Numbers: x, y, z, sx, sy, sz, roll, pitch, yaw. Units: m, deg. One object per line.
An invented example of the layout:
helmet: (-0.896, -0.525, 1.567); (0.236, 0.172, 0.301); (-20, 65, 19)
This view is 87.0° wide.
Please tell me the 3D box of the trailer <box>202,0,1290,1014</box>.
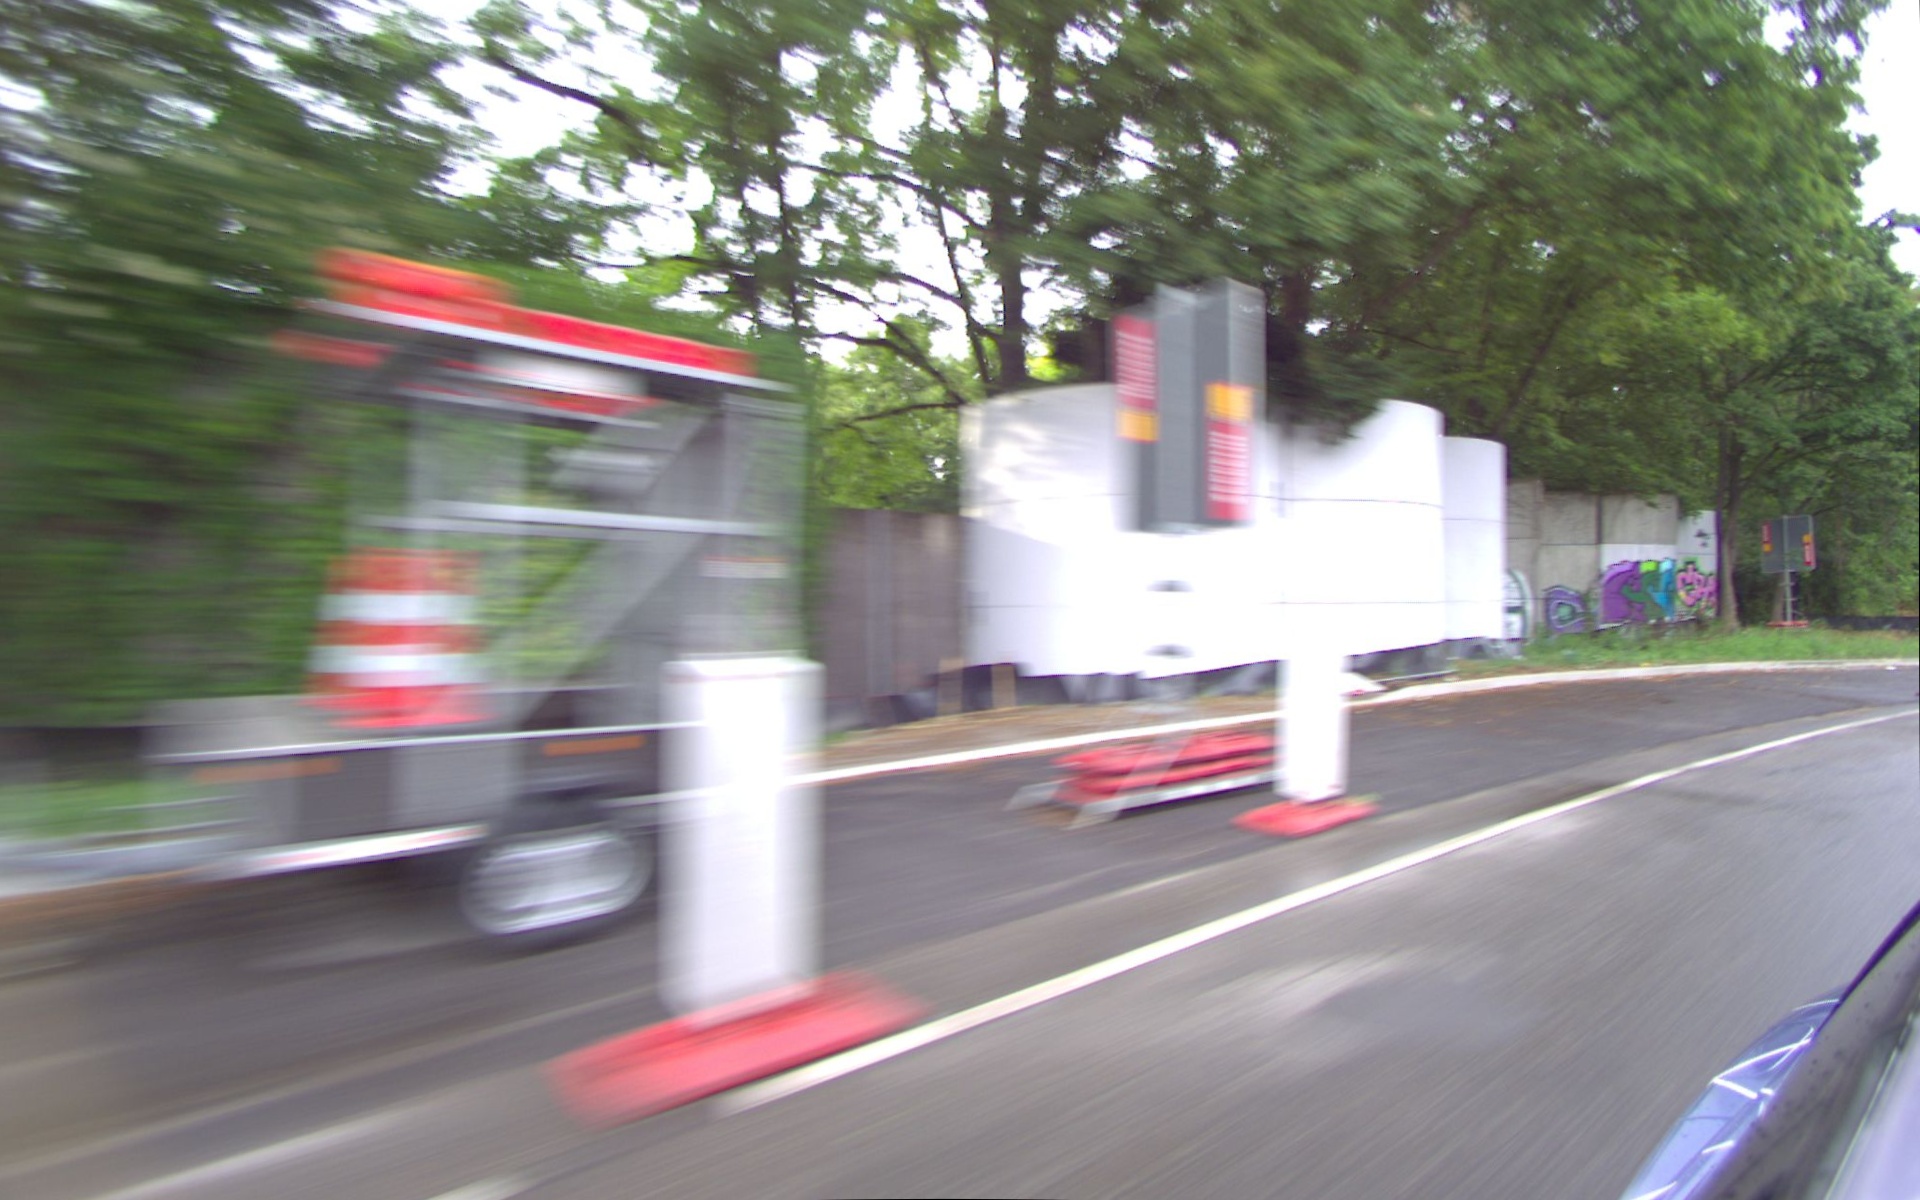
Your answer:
trailer: (-0.818, -0.504, 5.993); (5.849, 3.633, 2.314); (0, 1, -37)
